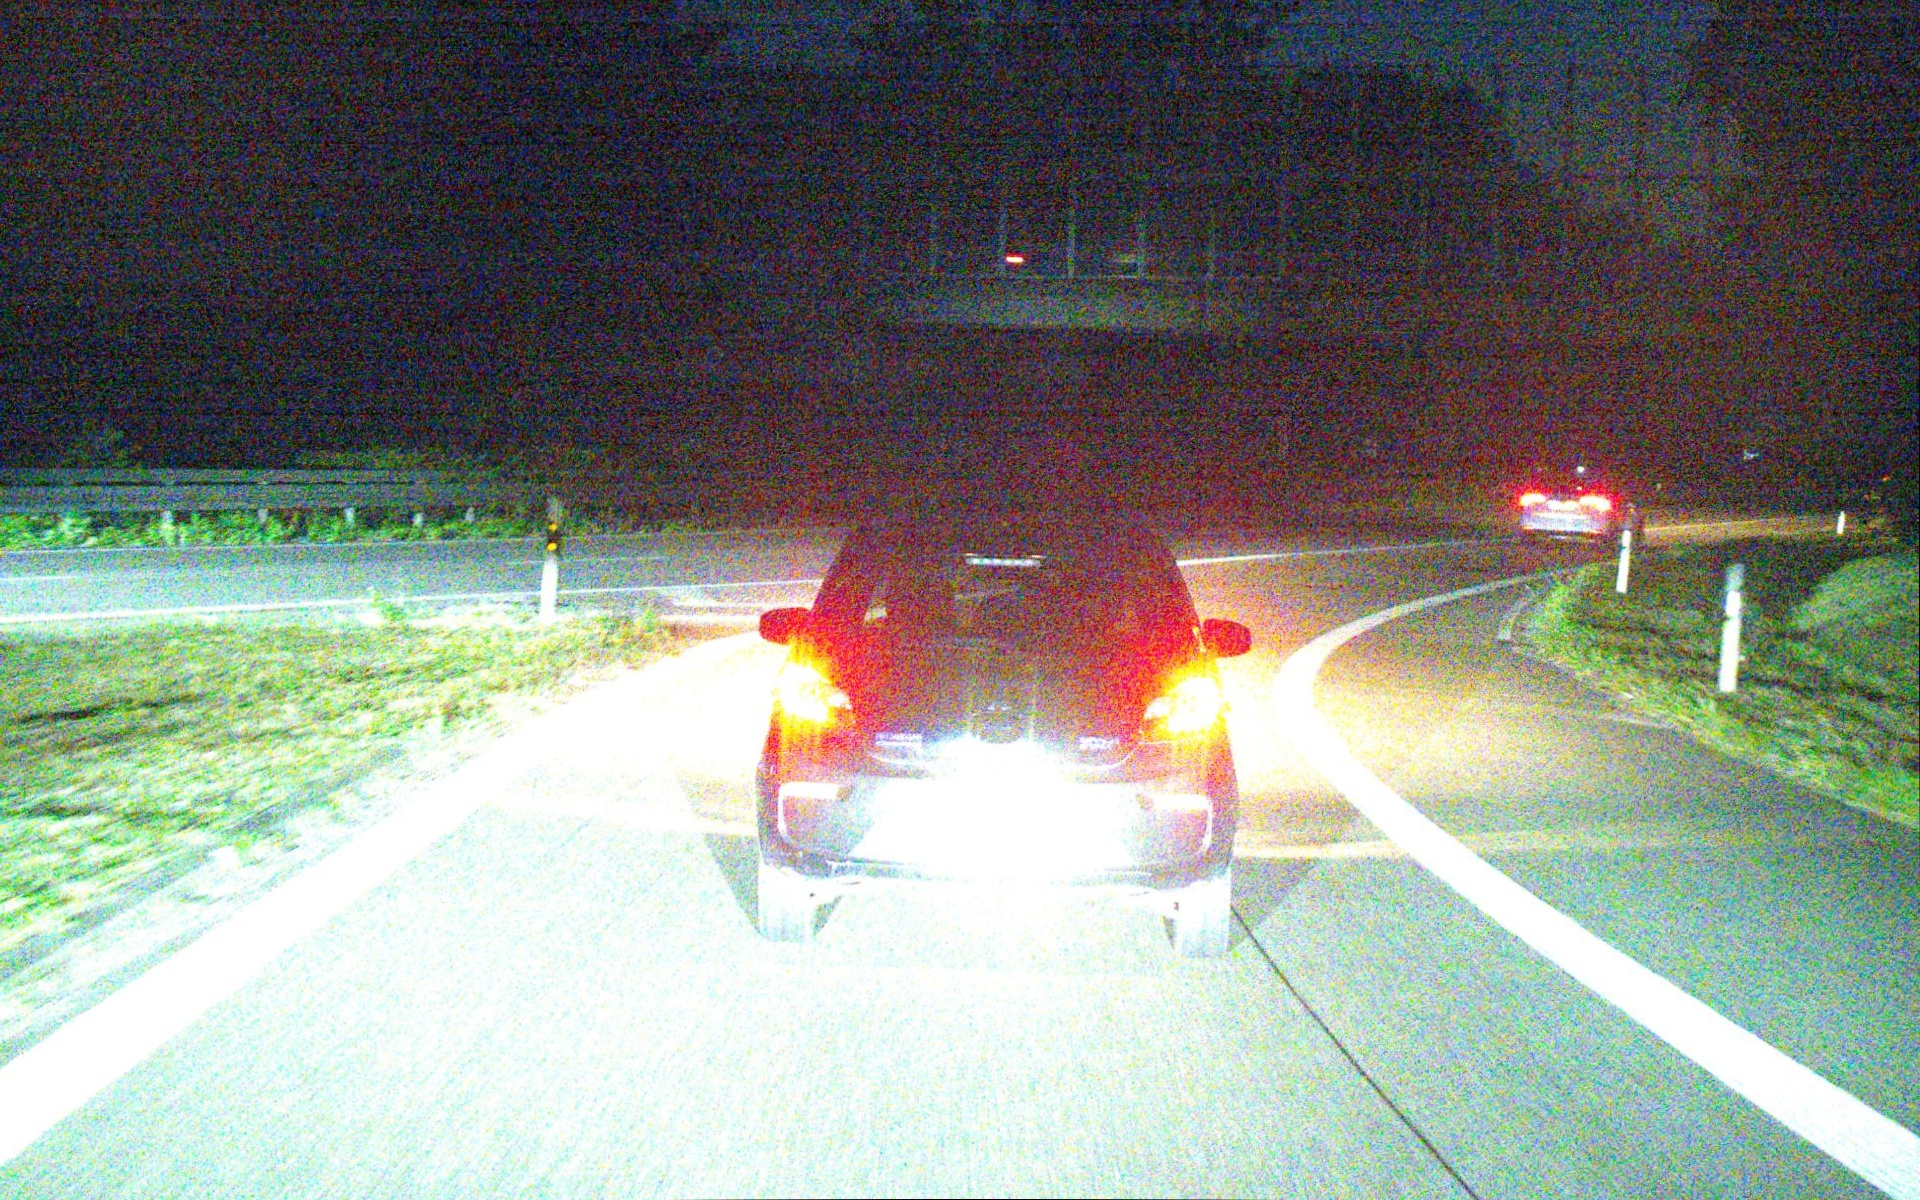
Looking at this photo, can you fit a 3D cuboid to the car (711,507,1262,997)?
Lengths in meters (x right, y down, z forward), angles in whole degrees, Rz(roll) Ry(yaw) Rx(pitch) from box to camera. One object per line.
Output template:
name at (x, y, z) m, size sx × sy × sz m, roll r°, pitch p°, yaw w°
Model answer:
car at (0.125, 0.429, 12.918) m, size 1.691 × 1.472 × 4.000 m, roll 2°, pitch 2°, yaw 1°

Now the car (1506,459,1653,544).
car at (12.001, -1.873, 66.374) m, size 1.953 × 1.533 × 4.236 m, roll -1°, pitch 0°, yaw 22°
